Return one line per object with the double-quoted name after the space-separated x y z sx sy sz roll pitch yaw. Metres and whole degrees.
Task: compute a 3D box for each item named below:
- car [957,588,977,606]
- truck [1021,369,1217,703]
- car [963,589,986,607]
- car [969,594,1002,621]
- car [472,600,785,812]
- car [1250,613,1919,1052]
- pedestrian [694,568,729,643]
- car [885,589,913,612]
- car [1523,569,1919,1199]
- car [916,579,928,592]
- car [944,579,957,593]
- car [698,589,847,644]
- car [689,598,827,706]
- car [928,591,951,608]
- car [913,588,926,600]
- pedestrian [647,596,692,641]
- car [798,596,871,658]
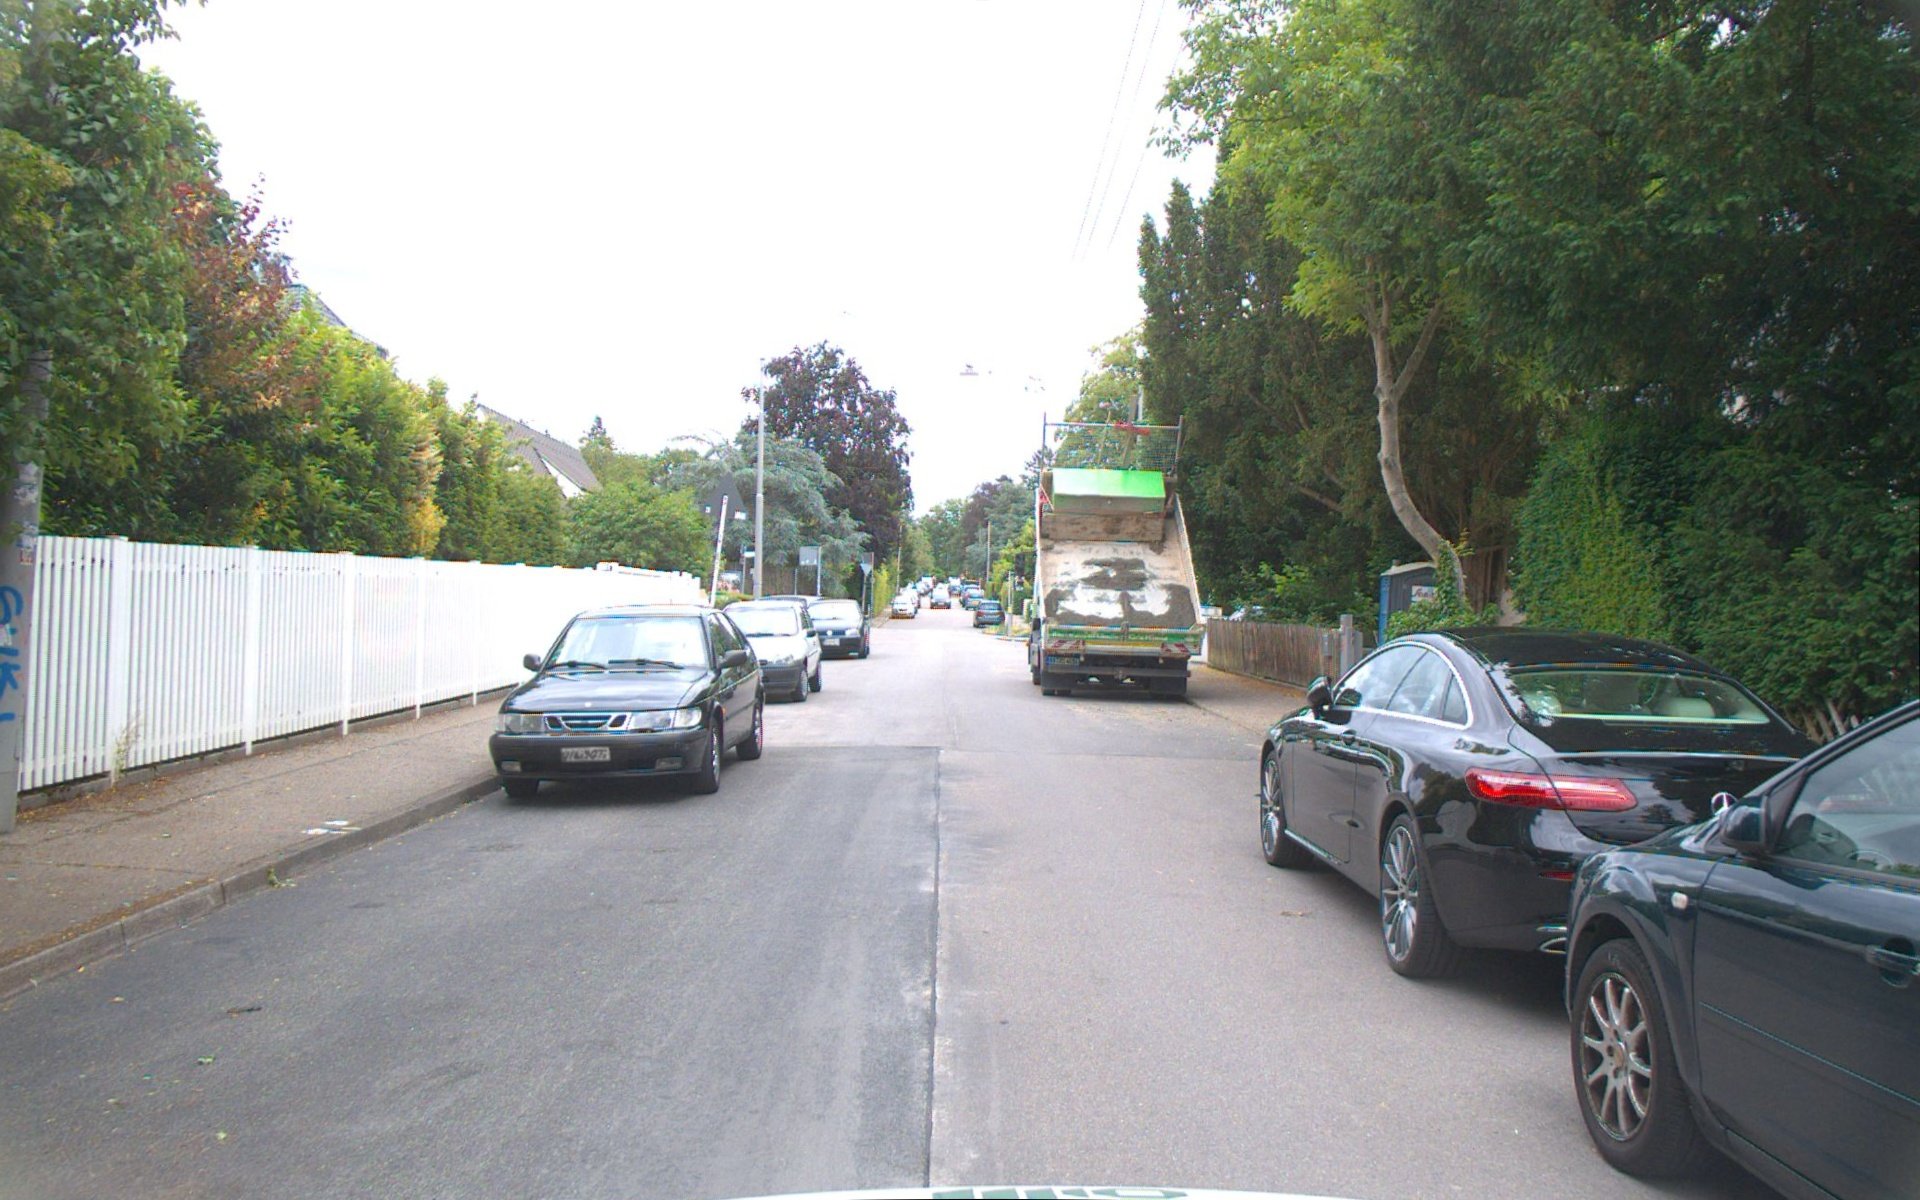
0.666 -0.302 150.059 1.752 1.556 3.734 1 0 1 "car"
2.470 -0.952 27.948 2.473 4.831 7.187 2 0 0 "truck"
1.225 -0.211 141.198 1.774 1.359 3.631 3 1 -2 "car"
1.458 0.414 97.489 1.743 1.515 3.999 1 0 -2 "car"
-2.596 0.749 14.013 1.607 1.447 4.550 -1 0 1 "car"
2.688 0.843 8.173 1.618 1.448 4.660 2 0 0 "car"
-7.033 0.153 46.874 0.835 2.049 0.700 3 0 -6 "pedestrian"
-4.286 0.030 117.350 1.676 1.613 4.001 1 0 2 "car"
2.720 0.745 3.168 1.664 1.598 4.306 0 0 -2 "car"
-5.847 -2.230 252.963 1.781 1.914 3.999 3 0 -1 "car"
-1.249 -1.749 210.259 1.601 1.731 3.493 2 1 -1 "car"
-5.457 0.462 48.319 3.902 1.469 1.828 1 1 16 "car"
-2.958 0.716 24.936 1.563 1.458 4.000 -1 0 0 "car"
-1.806 -0.039 144.524 1.692 1.432 3.805 1 0 3 "car"
-5.047 -0.717 205.918 1.594 1.410 3.597 3 0 -1 "car"
-8.225 0.535 46.818 0.941 1.246 0.823 2 -1 -43 "pedestrian"
-3.063 0.627 41.035 1.604 1.419 3.987 -1 0 -2 "car"
